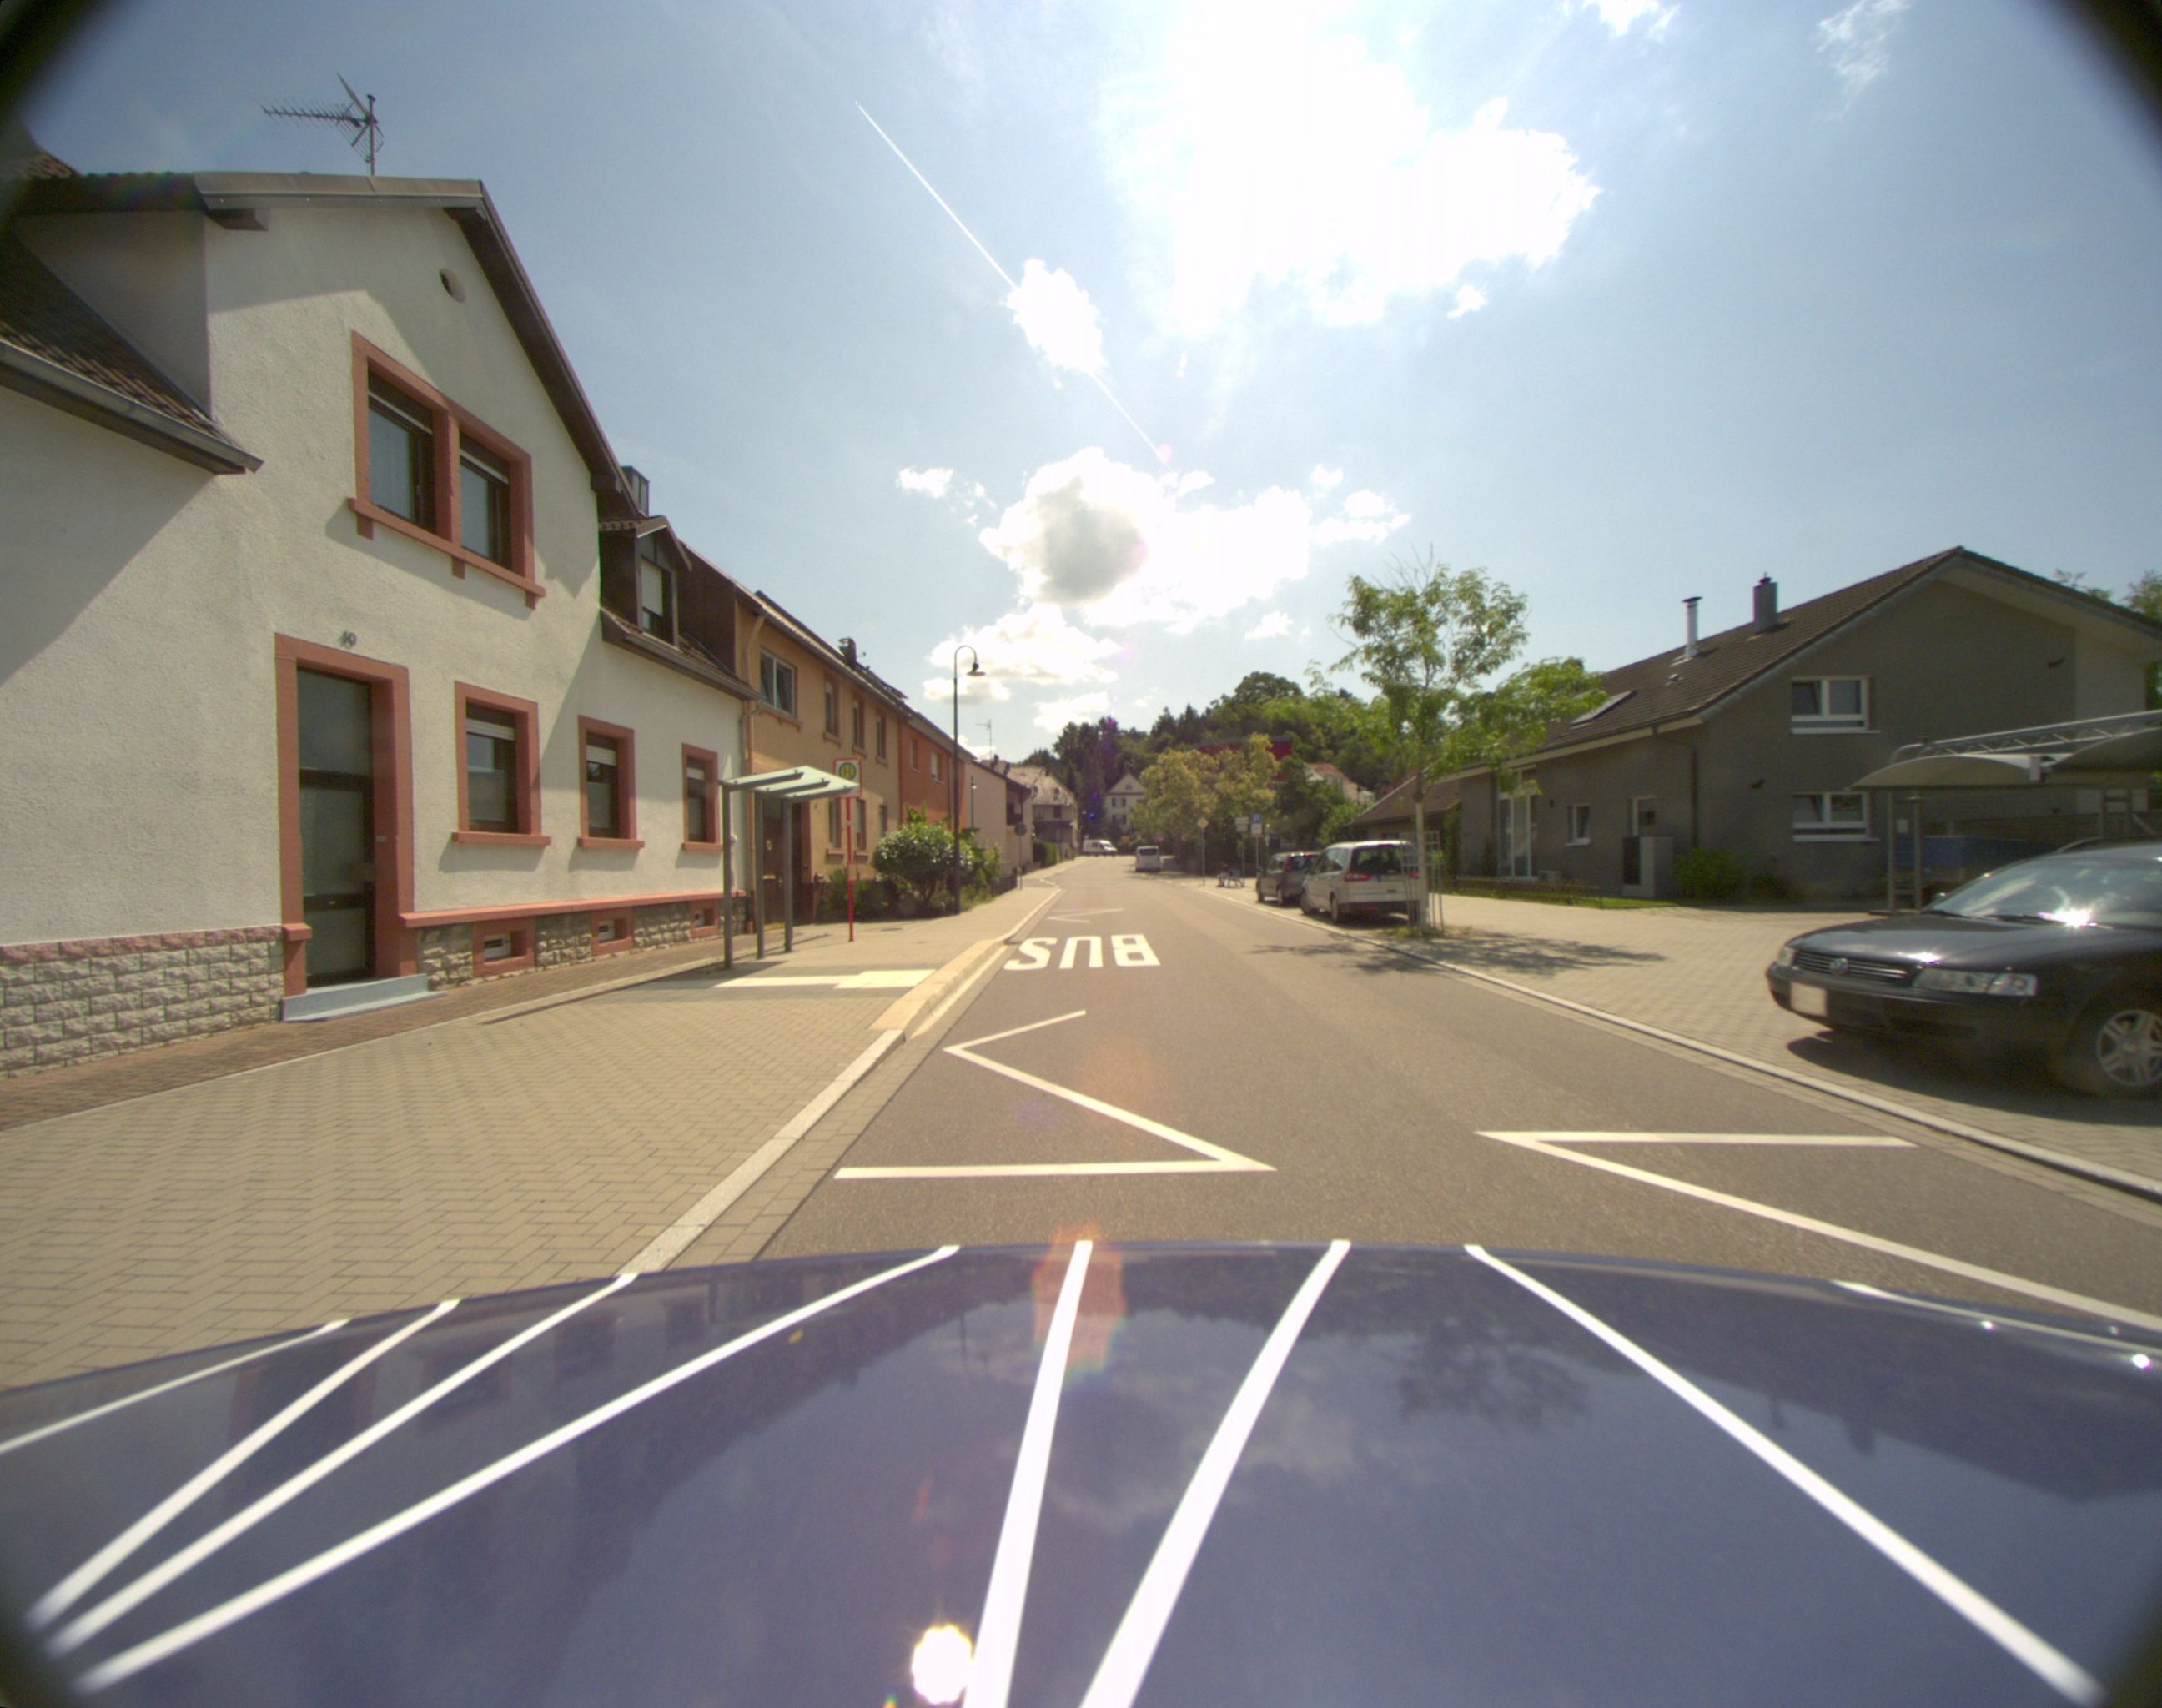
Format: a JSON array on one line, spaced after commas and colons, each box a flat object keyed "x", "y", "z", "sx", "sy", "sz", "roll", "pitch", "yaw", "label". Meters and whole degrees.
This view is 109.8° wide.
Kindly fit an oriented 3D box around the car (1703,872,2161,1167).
[{"x": 7.241, "y": 0.917, "z": 5.054, "sx": 4.598, "sy": 1.508, "sz": 1.902, "roll": -1, "pitch": 0, "yaw": 1, "label": "car"}]

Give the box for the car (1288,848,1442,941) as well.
[{"x": 6.121, "y": 0.819, "z": 17.005, "sx": 1.843, "sy": 1.737, "sz": 4.688, "roll": -2, "pitch": -1, "yaw": 3, "label": "car"}]

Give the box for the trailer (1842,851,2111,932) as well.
[{"x": 17.477, "y": 0.695, "z": 14.917, "sx": 3.642, "sy": 1.380, "sz": 1.585, "roll": -2, "pitch": 1, "yaw": -4, "label": "trailer"}]

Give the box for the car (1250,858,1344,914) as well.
[{"x": 6.421, "y": 0.919, "z": 23.010, "sx": 1.727, "sy": 1.515, "sz": 3.910, "roll": -2, "pitch": -1, "yaw": 0, "label": "car"}]

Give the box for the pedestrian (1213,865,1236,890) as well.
[{"x": 6.716, "y": 1.094, "z": 35.610, "sx": 0.815, "sy": 1.135, "sz": 0.885, "roll": -2, "pitch": 1, "yaw": -2, "label": "pedestrian"}]

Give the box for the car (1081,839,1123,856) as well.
[{"x": 3.066, "y": -0.949, "z": 111.163, "sx": 5.584, "sy": 2.306, "sz": 2.496, "roll": -1, "pitch": 1, "yaw": 35, "label": "car"}]

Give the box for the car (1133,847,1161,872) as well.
[{"x": 5.302, "y": 0.383, "z": 61.338, "sx": 1.998, "sy": 1.968, "sz": 4.000, "roll": 0, "pitch": 1, "yaw": 1, "label": "car"}]
